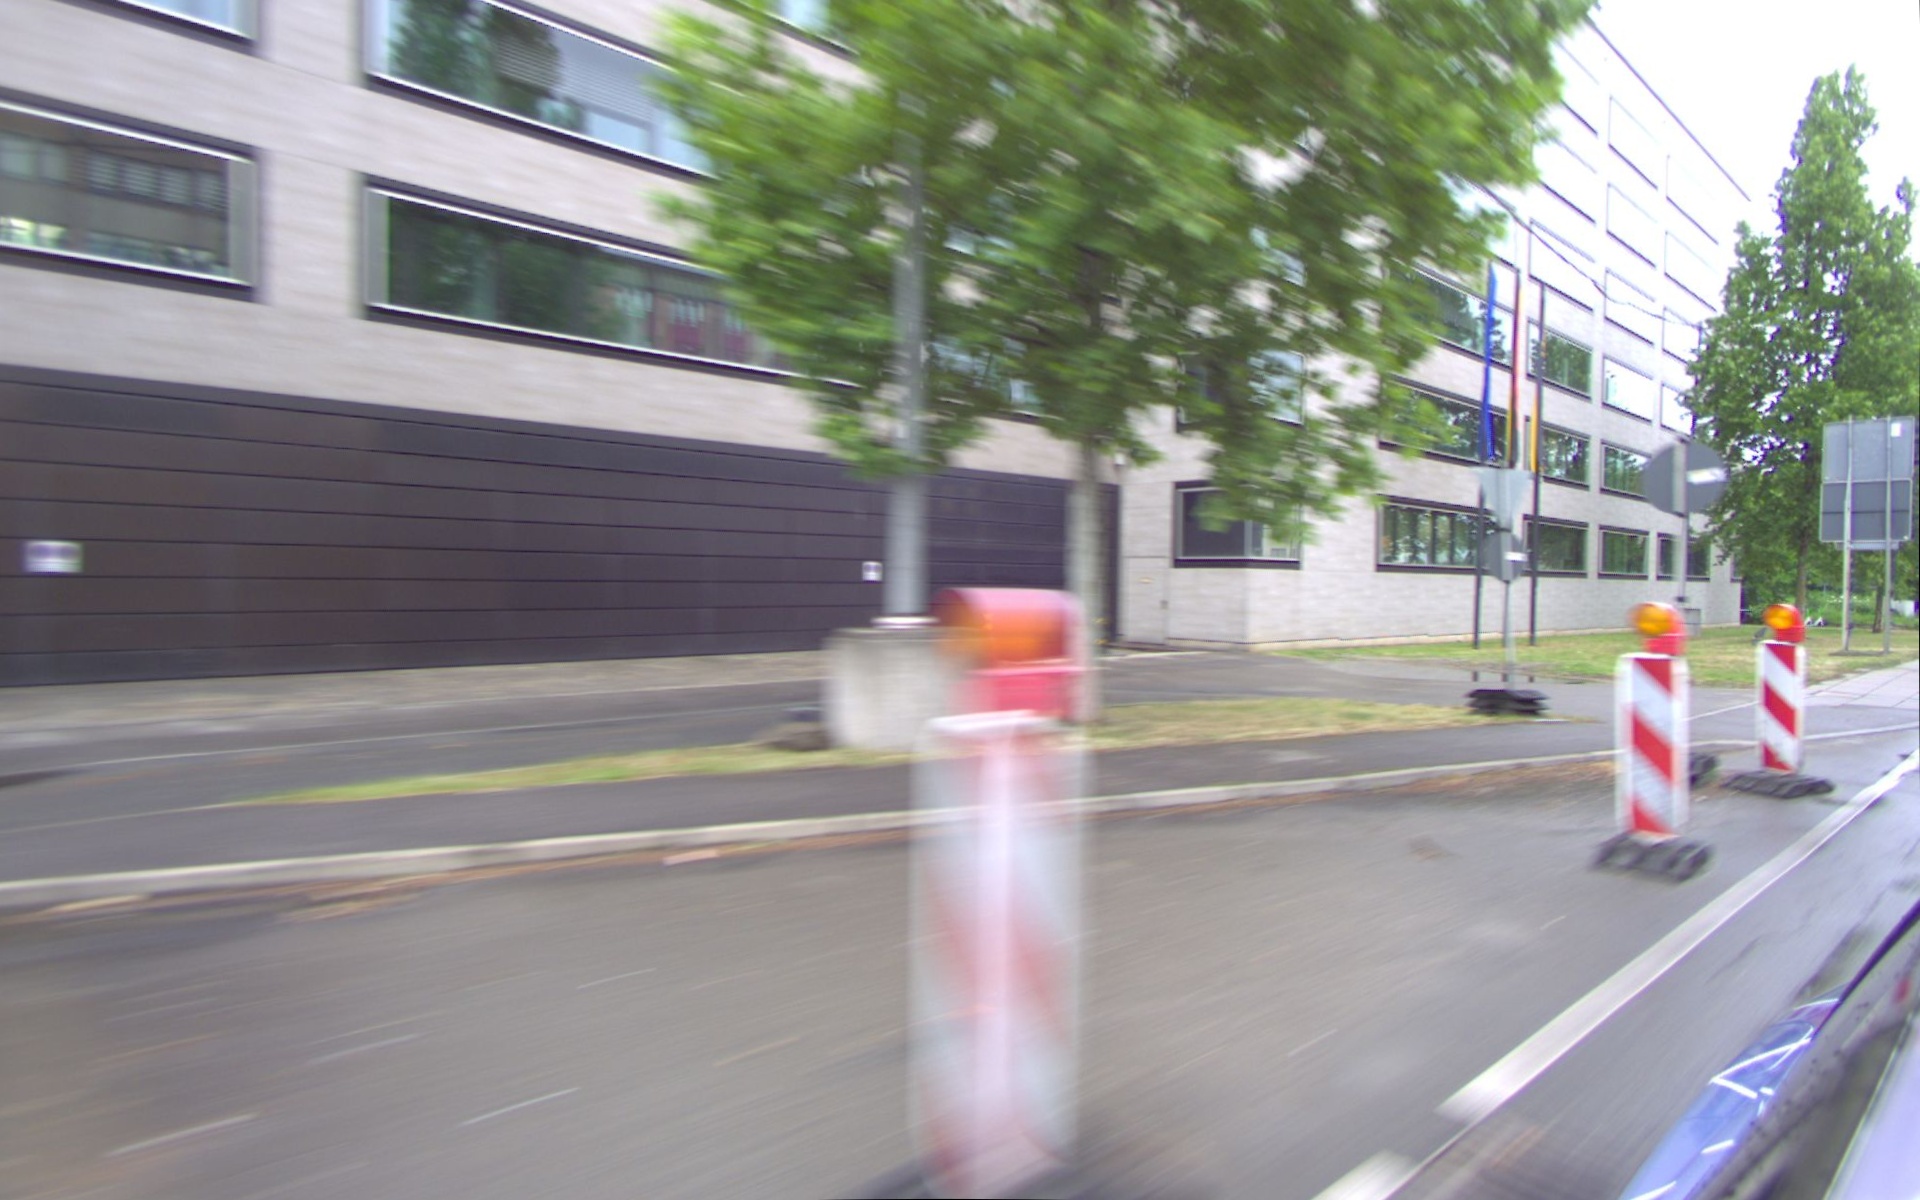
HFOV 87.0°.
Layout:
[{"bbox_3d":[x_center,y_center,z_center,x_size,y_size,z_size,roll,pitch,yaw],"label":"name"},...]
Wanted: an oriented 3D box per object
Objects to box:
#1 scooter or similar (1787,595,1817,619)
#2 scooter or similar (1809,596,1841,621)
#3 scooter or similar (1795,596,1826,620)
[{"bbox_3d":[47.997,0.381,57.661,0.464,1.328,1.239,0,2,-43],"label":"scooter or similar"},{"bbox_3d":[47.971,0.459,56.132,0.545,1.328,1.239,0,2,-43],"label":"scooter or similar"},{"bbox_3d":[47.901,0.451,56.990,0.464,1.328,1.239,0,2,-43],"label":"scooter or similar"}]
